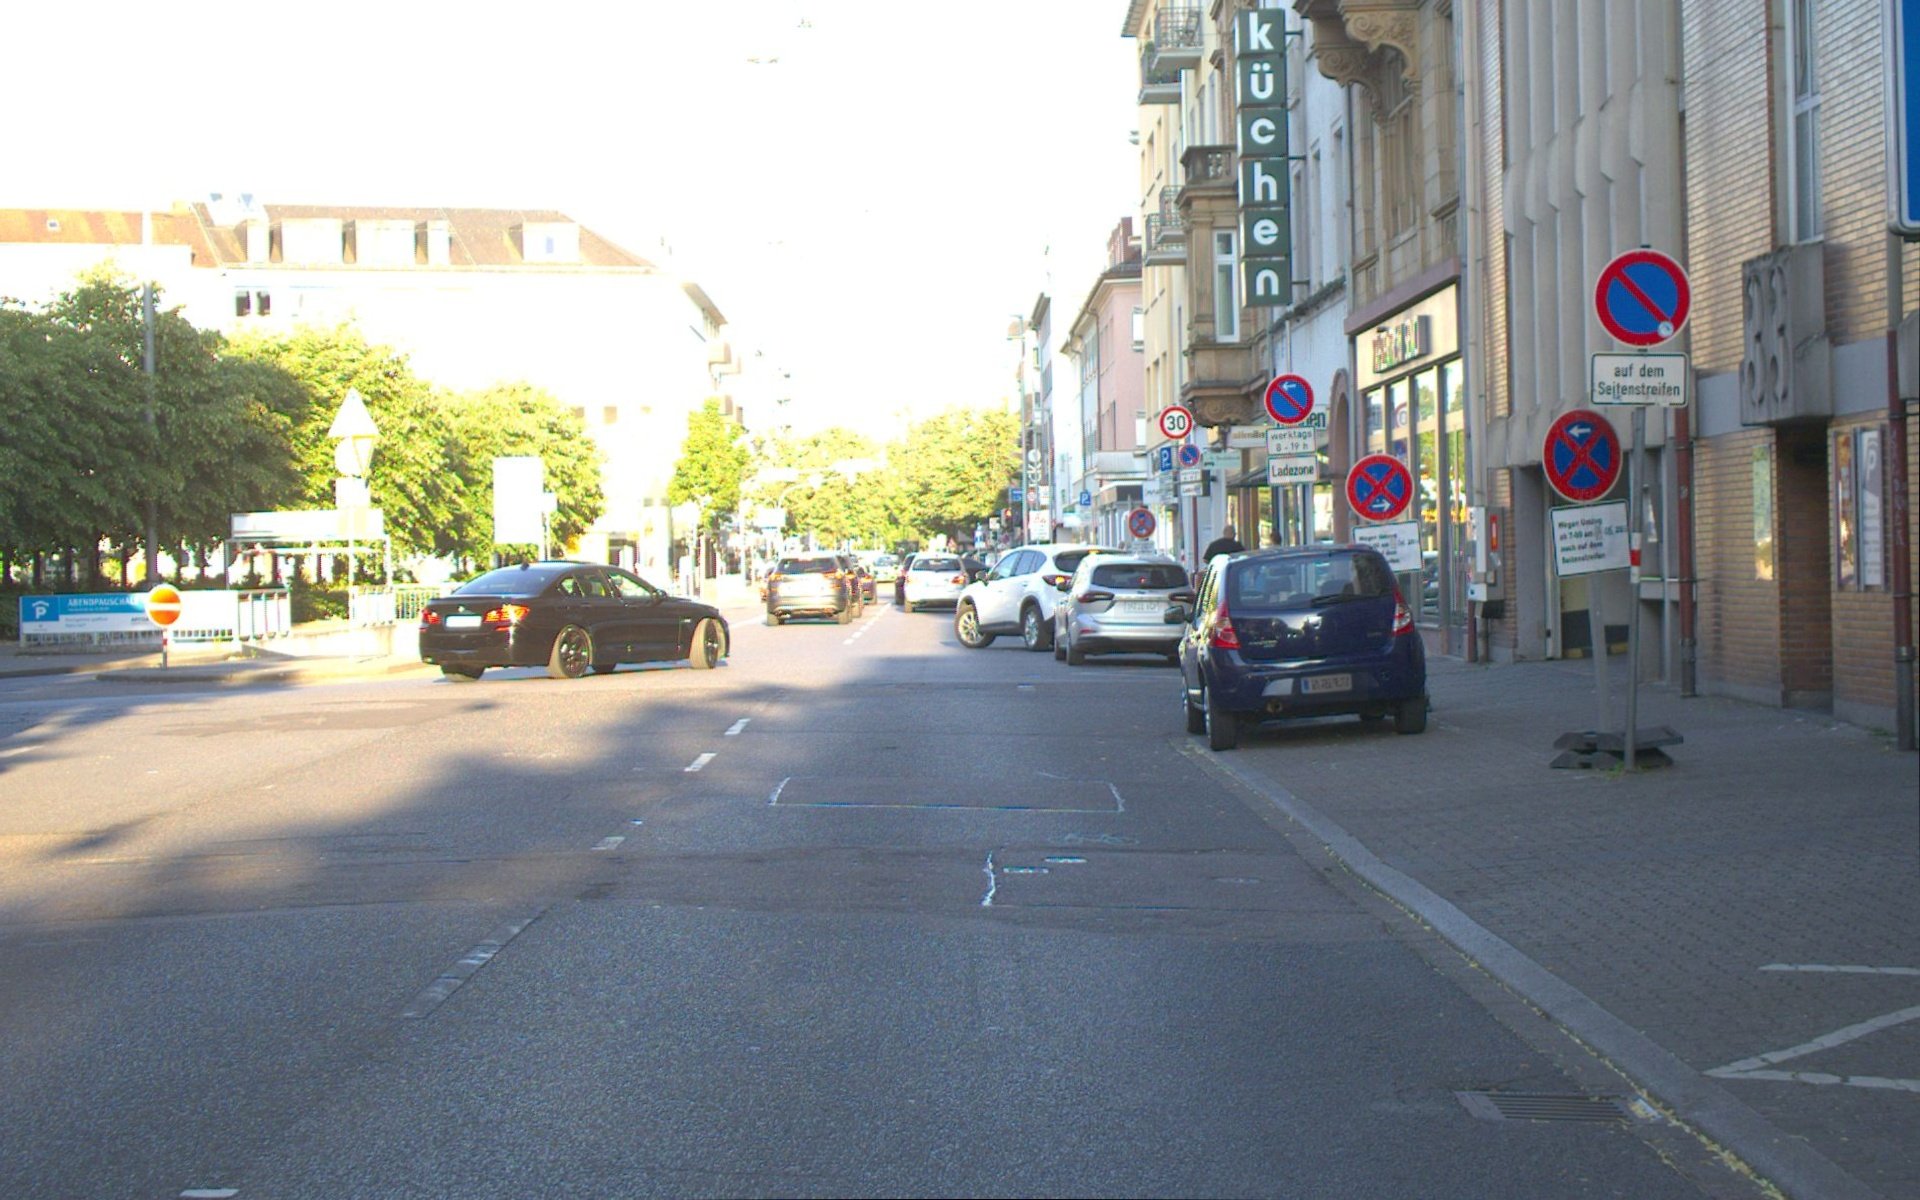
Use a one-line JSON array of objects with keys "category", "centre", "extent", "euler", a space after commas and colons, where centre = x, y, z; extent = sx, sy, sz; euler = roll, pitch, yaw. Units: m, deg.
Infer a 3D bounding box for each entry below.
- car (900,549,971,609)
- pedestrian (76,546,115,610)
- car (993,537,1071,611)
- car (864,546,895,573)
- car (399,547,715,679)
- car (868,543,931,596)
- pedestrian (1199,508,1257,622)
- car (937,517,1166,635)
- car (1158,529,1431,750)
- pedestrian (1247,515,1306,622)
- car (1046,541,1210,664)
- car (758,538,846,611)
[{"category": "car", "centre": [-0.690, -0.591, 94.445], "extent": [1.896, 1.575, 4.000], "euler": [1, 1, -1]}, {"category": "pedestrian", "centre": [-21.704, -0.555, 86.278], "extent": [0.678, 1.589, 0.676], "euler": [0, 1, 19]}, {"category": "car", "centre": [1.660, -0.606, 80.371], "extent": [1.730, 1.645, 4.284], "euler": [1, 0, 0]}, {"category": "car", "centre": [-4.736, -2.418, 202.788], "extent": [1.779, 1.542, 4.000], "euler": [-1, 1, -1]}, {"category": "car", "centre": [-5.041, 0.135, 43.493], "extent": [1.900, 1.576, 3.993], "euler": [1, 1, 32]}, {"category": "car", "centre": [-1.894, -0.975, 107.834], "extent": [1.896, 1.575, 3.852], "euler": [2, 1, -1]}, {"category": "pedestrian", "centre": [4.392, -0.573, 56.338], "extent": [0.772, 1.821, 1.011], "euler": [-3, 1, -1]}, {"category": "car", "centre": [1.404, -0.390, 54.896], "extent": [1.993, 1.755, 4.467], "euler": [-2, 1, -22]}, {"category": "car", "centre": [2.620, 0.260, 27.742], "extent": [1.759, 1.531, 4.000], "euler": [-4, 1, 1]}, {"category": "pedestrian", "centre": [5.187, -0.521, 56.407], "extent": [0.772, 1.705, 1.042], "euler": [-3, 1, -1]}, {"category": "car", "centre": [2.200, 0.017, 46.236], "extent": [1.759, 1.531, 4.822], "euler": [1, 0, -2]}, {"category": "car", "centre": [-3.626, -0.604, 79.525], "extent": [1.896, 1.644, 4.104], "euler": [-1, 1, -1]}]
